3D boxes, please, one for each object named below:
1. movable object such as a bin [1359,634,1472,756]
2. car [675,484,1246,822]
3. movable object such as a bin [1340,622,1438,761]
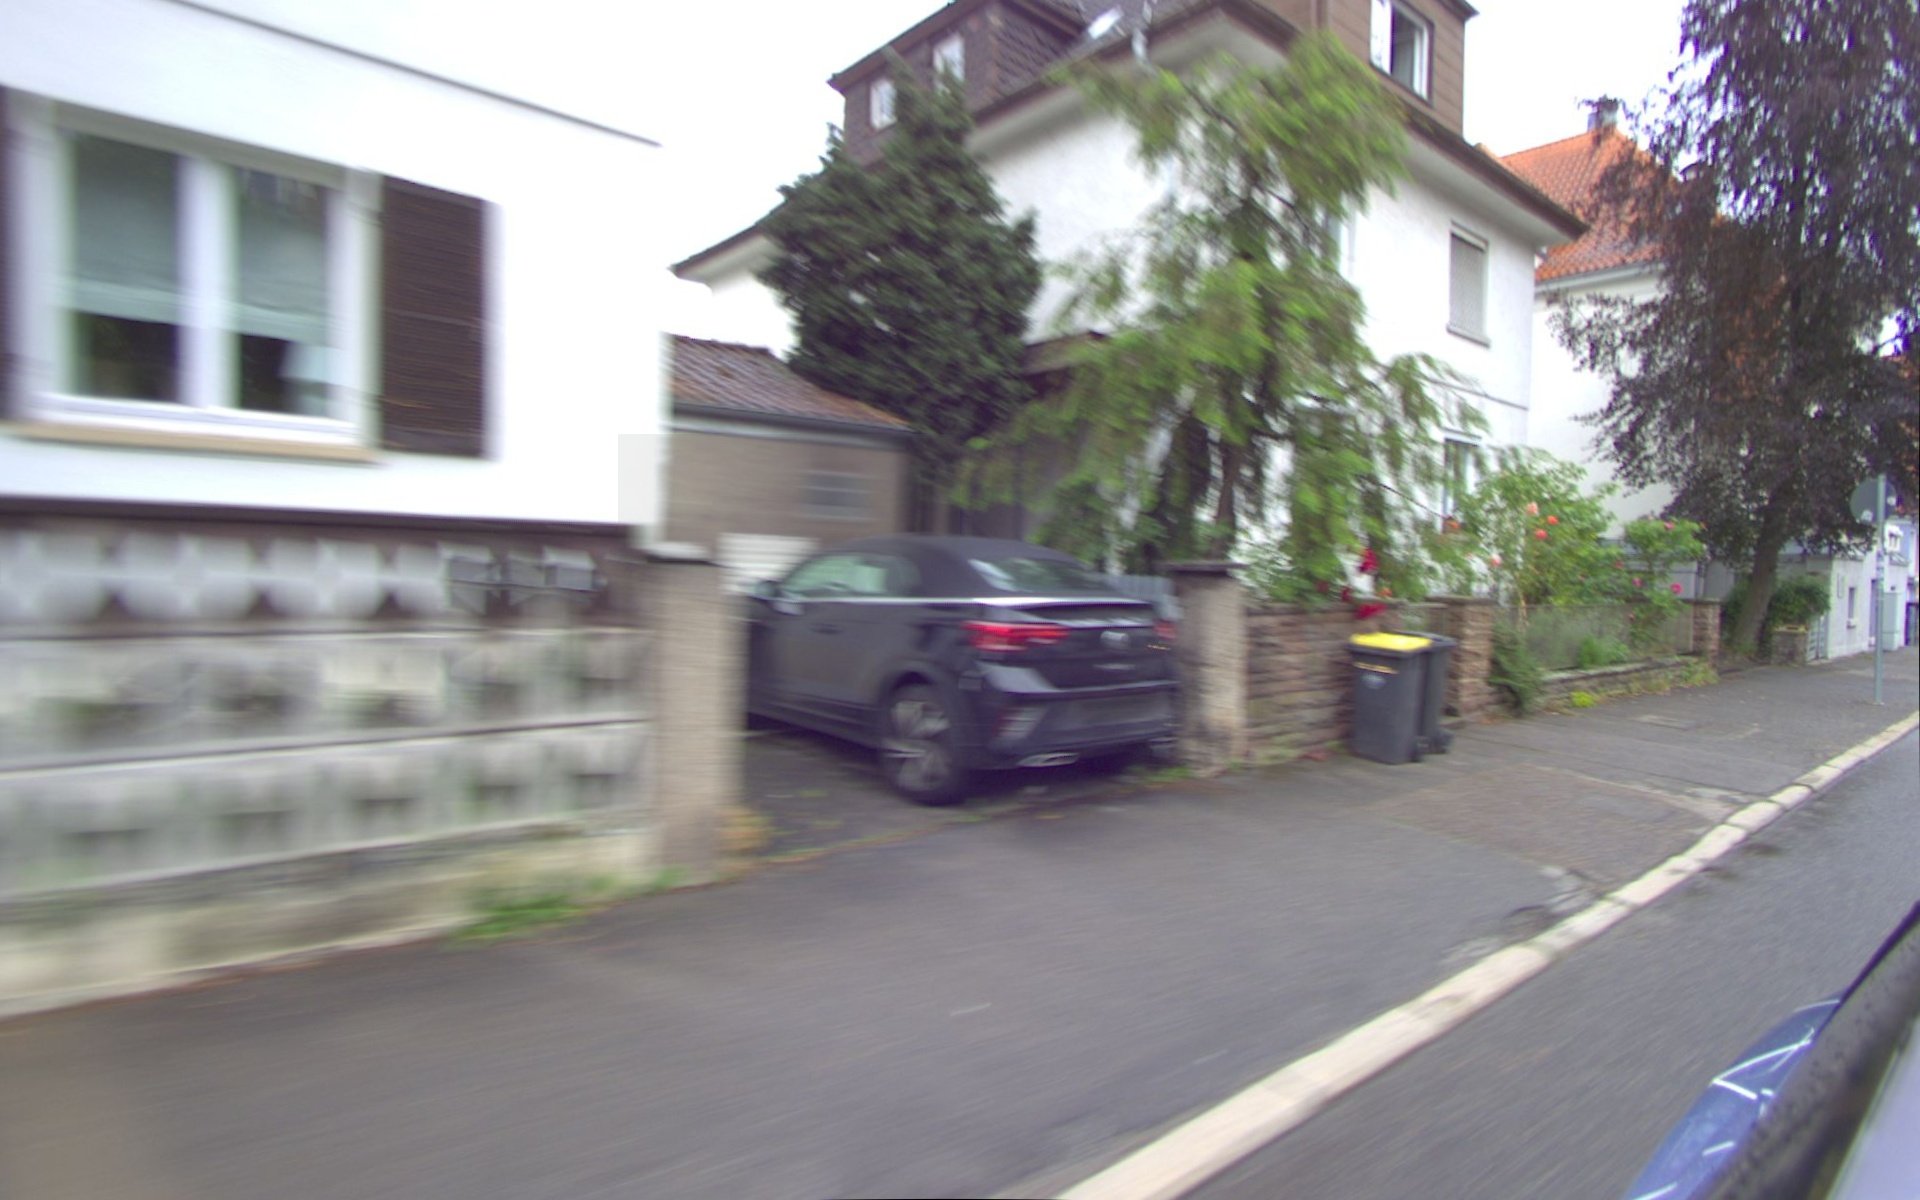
[{"bbox_3d":[3.536,0.712,7.867,0.494,0.866,0.652,2,0,-42],"label":"movable object such as a bin"},{"bbox_3d":[-0.255,0.240,7.123,1.884,1.661,3.995,2,0,-40],"label":"car"},{"bbox_3d":[3.179,0.653,7.498,0.494,0.968,0.495,2,-1,-42],"label":"movable object such as a bin"}]
